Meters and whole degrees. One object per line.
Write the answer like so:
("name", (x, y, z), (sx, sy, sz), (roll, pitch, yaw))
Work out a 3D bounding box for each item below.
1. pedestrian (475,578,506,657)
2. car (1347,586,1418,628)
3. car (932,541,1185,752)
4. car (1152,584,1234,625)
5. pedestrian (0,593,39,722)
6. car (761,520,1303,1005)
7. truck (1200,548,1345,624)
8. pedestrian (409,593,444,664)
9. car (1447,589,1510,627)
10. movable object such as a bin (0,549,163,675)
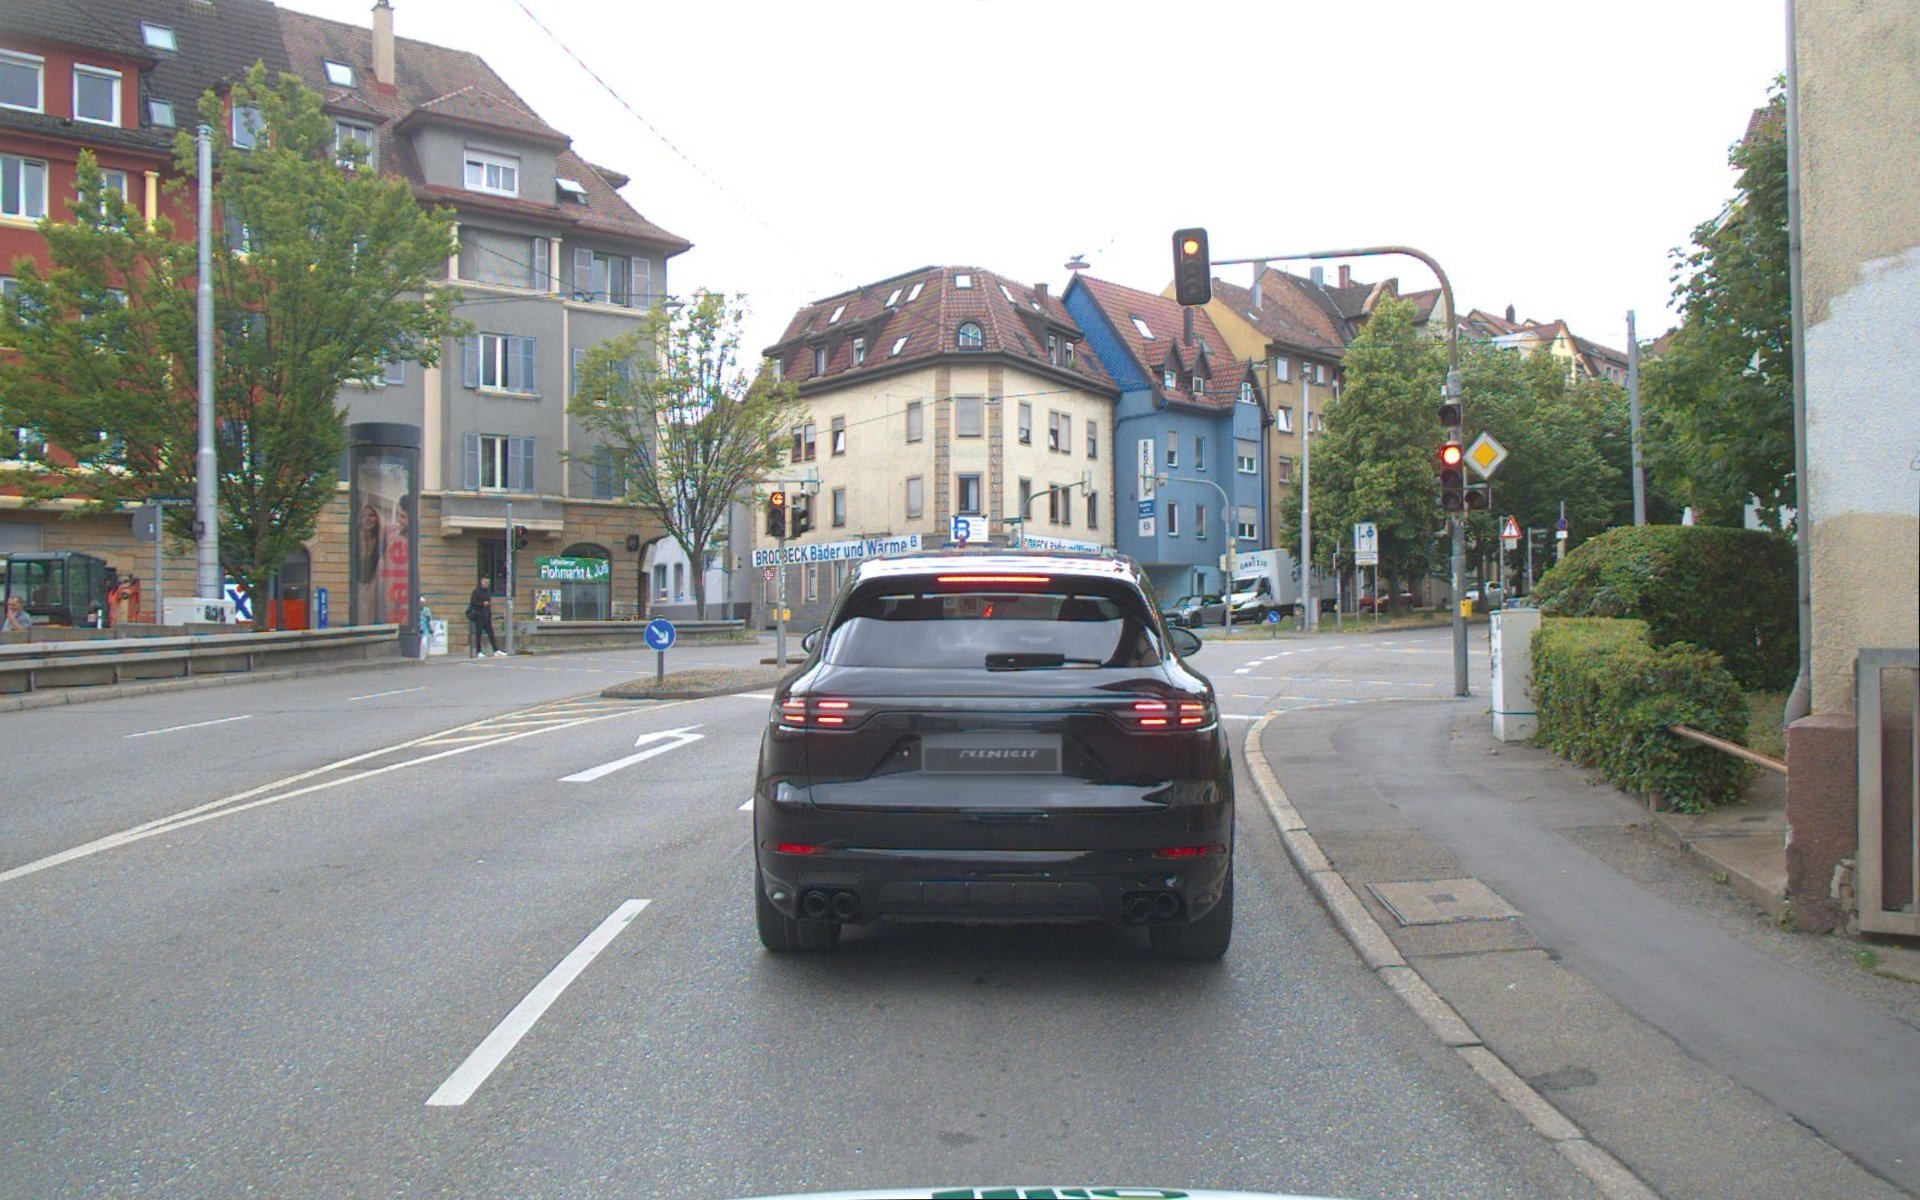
("pedestrian", (-10.686, 0.391, 37.675), (0.503, 1.760, 0.451), (2, -1, 1))
("car", (22.246, 0.364, 87.110), (1.965, 2.049, 3.975), (2, 0, 42))
("car", (1.067, 0.377, 15.577), (1.951, 1.713, 4.003), (0, 0, 10))
("car", (10.222, 0.197, 72.395), (1.960, 1.713, 3.985), (0, 0, 36))
("pedestrian", (-13.232, 0.798, 23.098), (0.537, 1.760, 0.586), (2, -1, -35))
("car", (0.149, 0.547, 7.891), (1.939, 1.713, 3.997), (0, 1, -4))
("truck", (15.092, -0.622, 79.270), (2.830, 3.398, 8.744), (2, 0, 41))
("pedestrian", (-12.262, 0.653, 38.023), (0.577, 1.594, 0.486), (2, -1, -1))
("car", (30.011, 0.485, 95.665), (1.965, 2.049, 3.975), (2, 0, 42))
("movable object such as a bin", (-14.158, 0.160, 26.245), (1.870, 1.802, 3.986), (2, 0, -14))
